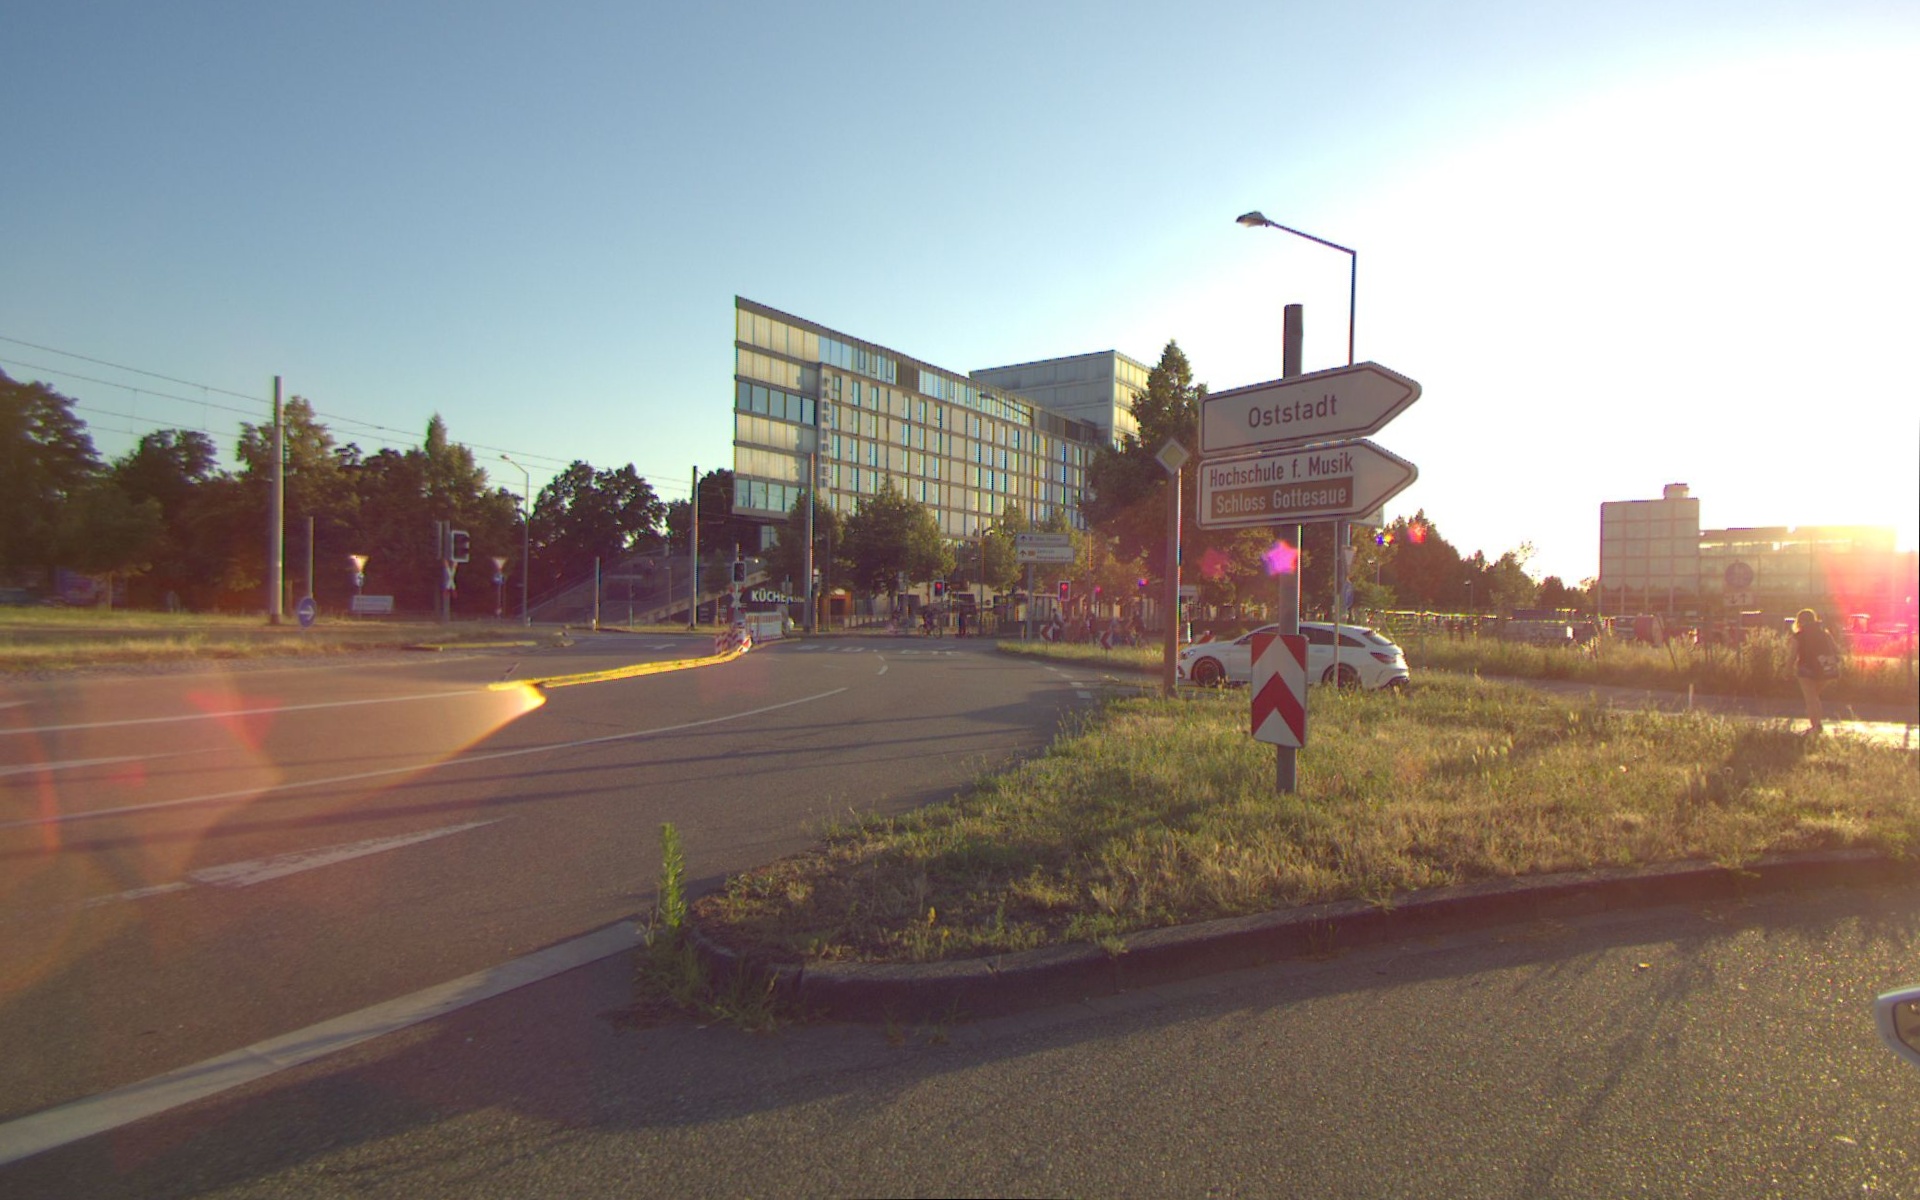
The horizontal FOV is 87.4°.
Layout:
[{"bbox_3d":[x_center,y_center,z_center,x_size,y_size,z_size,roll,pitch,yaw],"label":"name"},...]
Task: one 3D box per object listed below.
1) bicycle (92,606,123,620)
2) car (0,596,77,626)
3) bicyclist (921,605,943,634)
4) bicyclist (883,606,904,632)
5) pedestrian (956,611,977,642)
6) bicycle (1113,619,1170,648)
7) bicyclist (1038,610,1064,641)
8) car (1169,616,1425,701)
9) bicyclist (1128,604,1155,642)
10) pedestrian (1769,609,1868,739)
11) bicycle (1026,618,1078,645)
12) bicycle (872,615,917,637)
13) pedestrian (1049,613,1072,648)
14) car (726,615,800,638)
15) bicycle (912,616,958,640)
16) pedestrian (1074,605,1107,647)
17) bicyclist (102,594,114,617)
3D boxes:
[{"bbox_3d":[-52.454,0.795,61.806,1.401,0.802,0.470,1,0,-29],"label":"bicycle"},{"bbox_3d":[-48.020,0.559,51.379,4.233,1.451,1.946,0,0,6],"label":"car"},{"bbox_3d":[-1.528,1.058,54.388,0.960,1.545,0.754,1,0,23],"label":"bicyclist"},{"bbox_3d":[-3.647,1.063,55.376,0.863,1.411,0.754,1,0,26],"label":"bicyclist"},{"bbox_3d":[0.355,1.478,56.706,0.872,1.730,0.793,1,0,29],"label":"pedestrian"},{"bbox_3d":[8.048,1.480,44.645,2.366,1.182,0.753,1,0,29],"label":"bicycle"},{"bbox_3d":[4.285,1.197,47.115,0.962,1.412,0.752,1,0,36],"label":"bicyclist"},{"bbox_3d":[6.821,1.117,20.508,4.577,1.472,2.069,1,-1,34],"label":"car"},{"bbox_3d":[8.047,1.029,44.623,0.960,1.634,0.753,1,0,29],"label":"bicyclist"},{"bbox_3d":[11.845,0.986,13.893,0.831,1.709,0.886,1,0,28],"label":"pedestrian"},{"bbox_3d":[4.287,1.475,47.137,2.370,1.182,0.752,1,0,36],"label":"bicycle"},{"bbox_3d":[-3.614,1.429,55.330,2.365,1.182,0.754,1,0,27],"label":"bicycle"},{"bbox_3d":[5.000,1.524,50.134,0.781,1.730,0.885,1,0,36],"label":"pedestrian"},{"bbox_3d":[-14.001,1.895,71.577,1.969,1.565,5.180,1,-1,38],"label":"car"},{"bbox_3d":[-1.348,1.508,54.295,2.363,1.182,0.754,1,0,24],"label":"bicycle"},{"bbox_3d":[5.888,1.166,45.344,0.969,1.851,1.151,1,0,-32],"label":"pedestrian"},{"bbox_3d":[-52.432,0.324,61.807,0.442,1.416,0.470,1,0,-28],"label":"bicyclist"}]
